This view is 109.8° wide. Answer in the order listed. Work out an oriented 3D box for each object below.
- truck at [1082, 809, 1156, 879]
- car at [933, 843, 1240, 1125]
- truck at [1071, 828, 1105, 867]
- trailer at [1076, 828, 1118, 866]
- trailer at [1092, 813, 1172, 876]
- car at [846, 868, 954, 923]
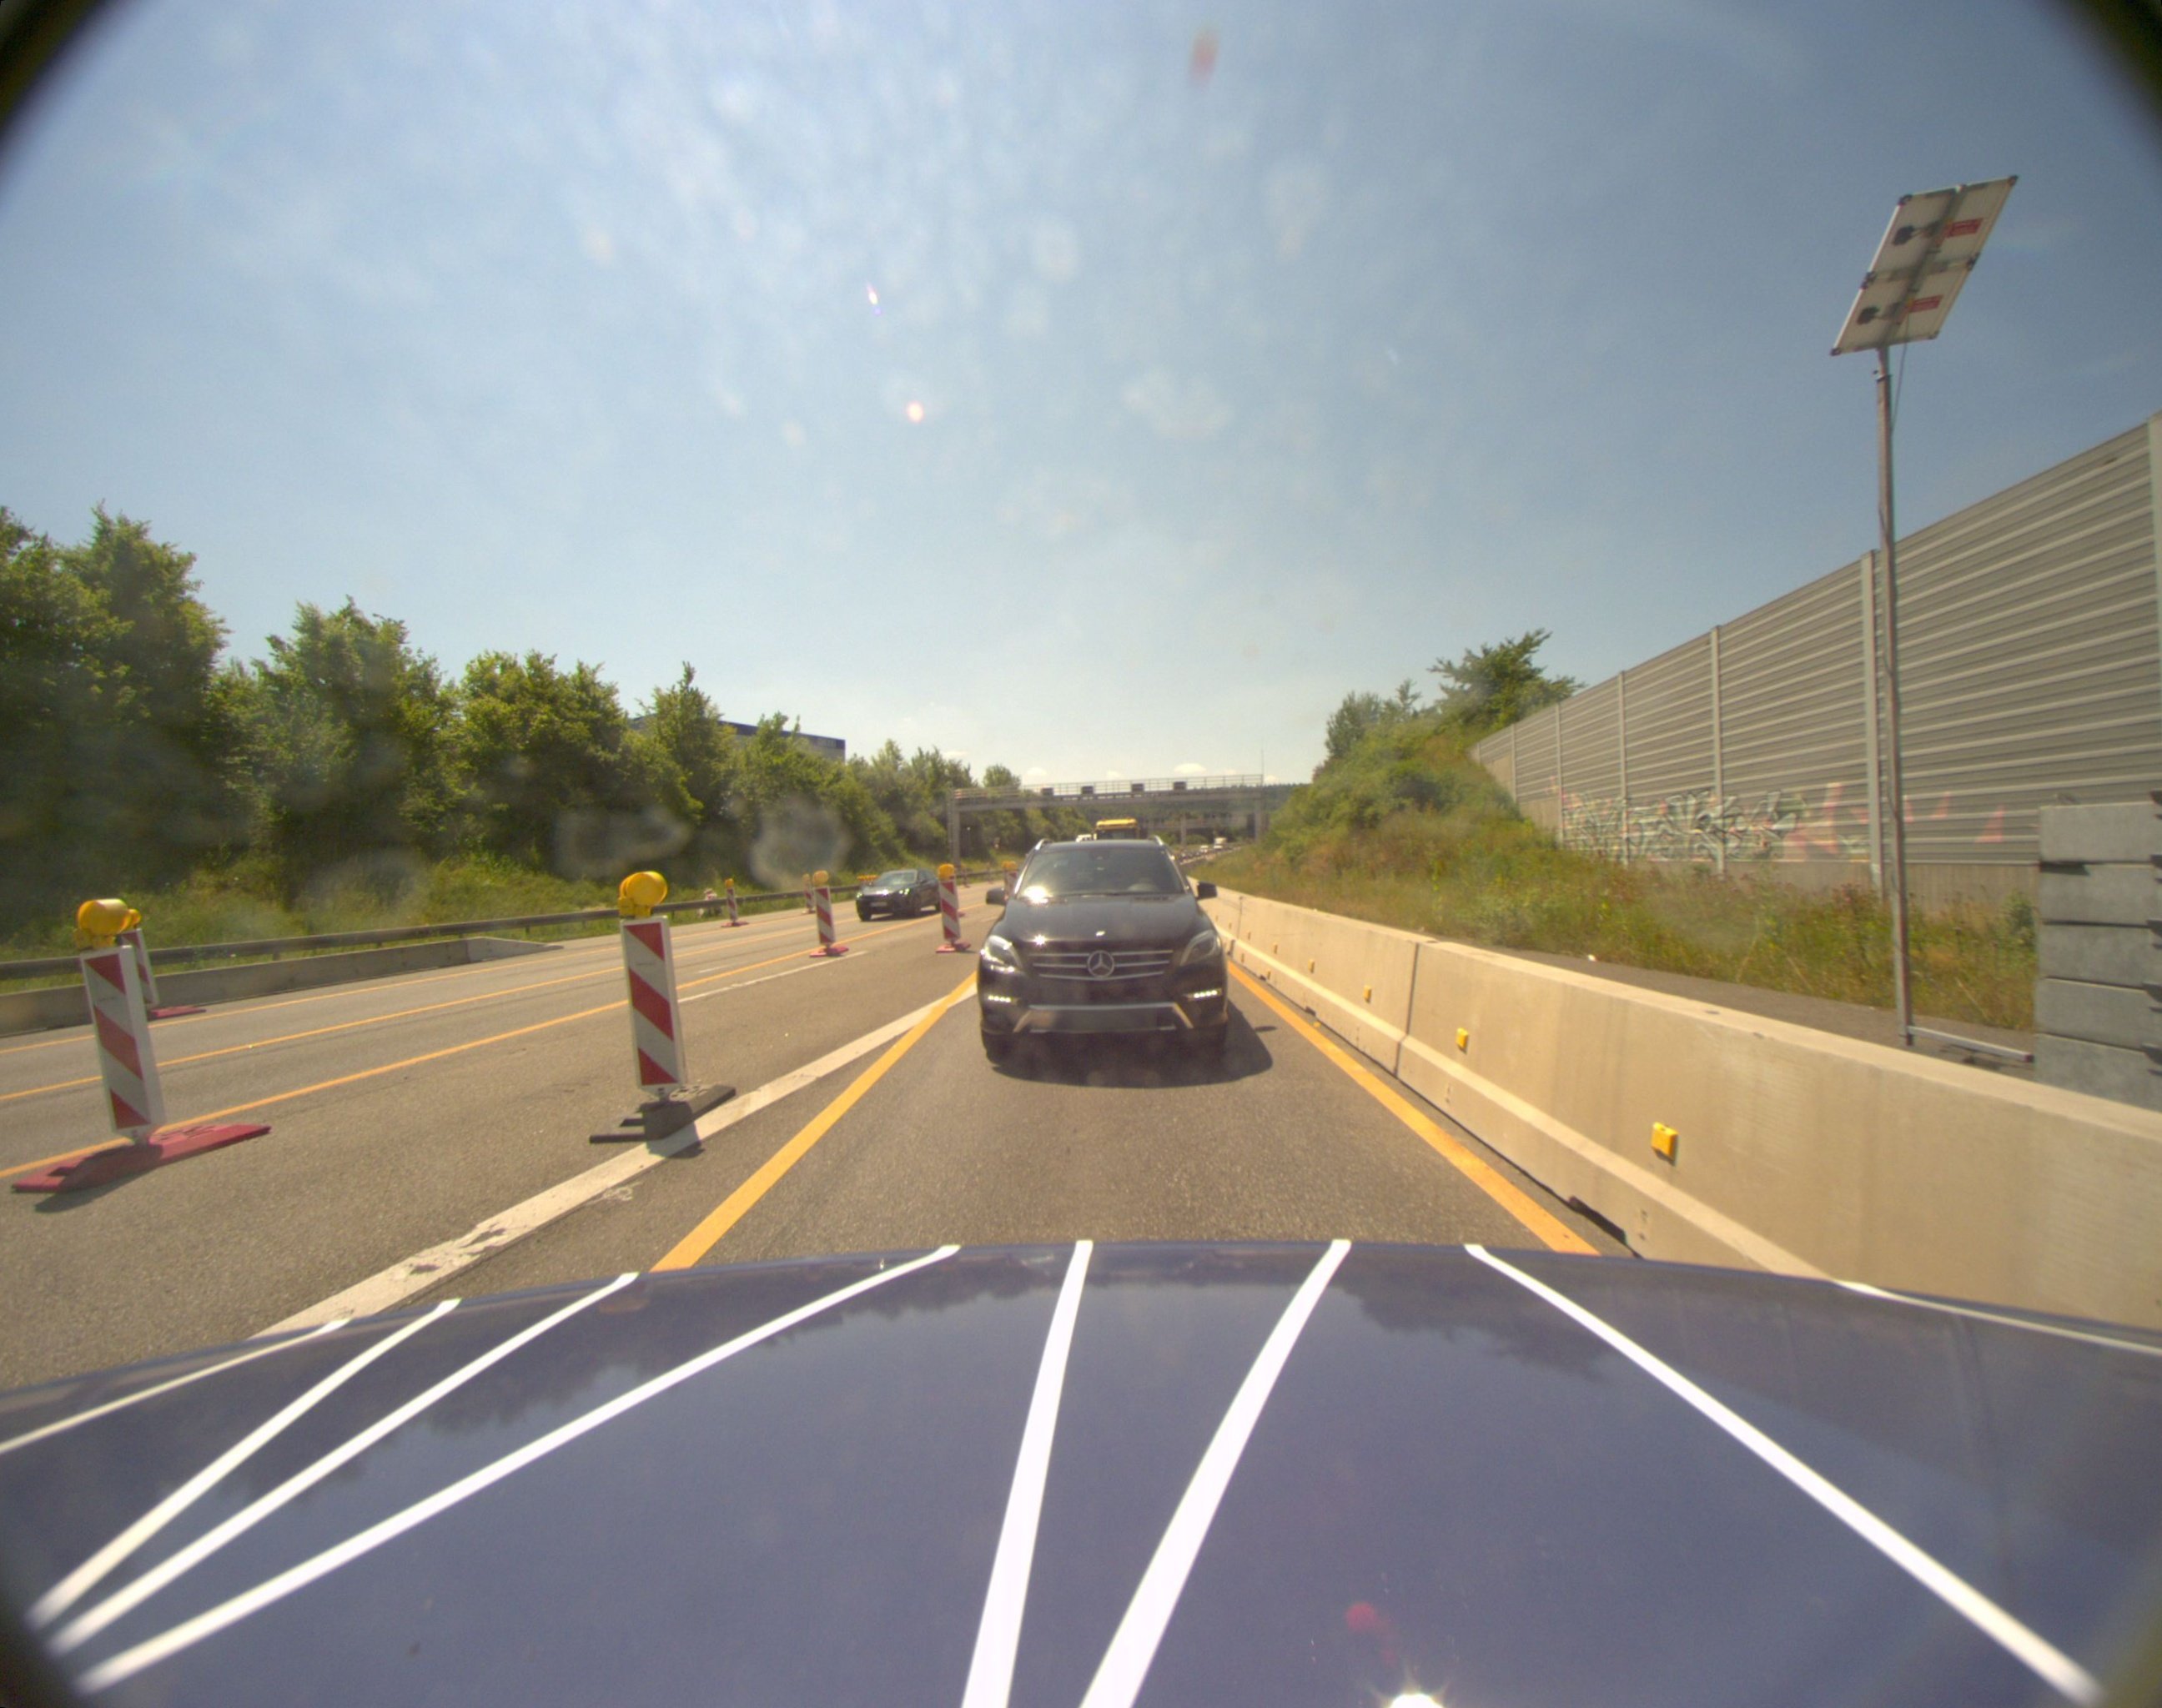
[{"bbox_3d":[2.402,-0.536,45.418,3.227,3.639,7.089,-3,-1,11],"label":"truck"},{"bbox_3d":[0.291,0.804,6.918,1.818,1.685,4.495,-3,0,7],"label":"car"},{"bbox_3d":[0.834,-0.730,81.996,2.532,3.927,5.603,-3,0,10],"label":"truck"},{"bbox_3d":[2.061,-0.772,88.805,2.545,3.929,13.879,-3,0,10],"label":"trailer"},{"bbox_3d":[4.090,-0.544,54.240,3.234,3.645,17.438,-3,-1,11],"label":"trailer"},{"bbox_3d":[-5.808,1.283,25.033,1.998,1.477,4.679,-3,0,5],"label":"car"}]
